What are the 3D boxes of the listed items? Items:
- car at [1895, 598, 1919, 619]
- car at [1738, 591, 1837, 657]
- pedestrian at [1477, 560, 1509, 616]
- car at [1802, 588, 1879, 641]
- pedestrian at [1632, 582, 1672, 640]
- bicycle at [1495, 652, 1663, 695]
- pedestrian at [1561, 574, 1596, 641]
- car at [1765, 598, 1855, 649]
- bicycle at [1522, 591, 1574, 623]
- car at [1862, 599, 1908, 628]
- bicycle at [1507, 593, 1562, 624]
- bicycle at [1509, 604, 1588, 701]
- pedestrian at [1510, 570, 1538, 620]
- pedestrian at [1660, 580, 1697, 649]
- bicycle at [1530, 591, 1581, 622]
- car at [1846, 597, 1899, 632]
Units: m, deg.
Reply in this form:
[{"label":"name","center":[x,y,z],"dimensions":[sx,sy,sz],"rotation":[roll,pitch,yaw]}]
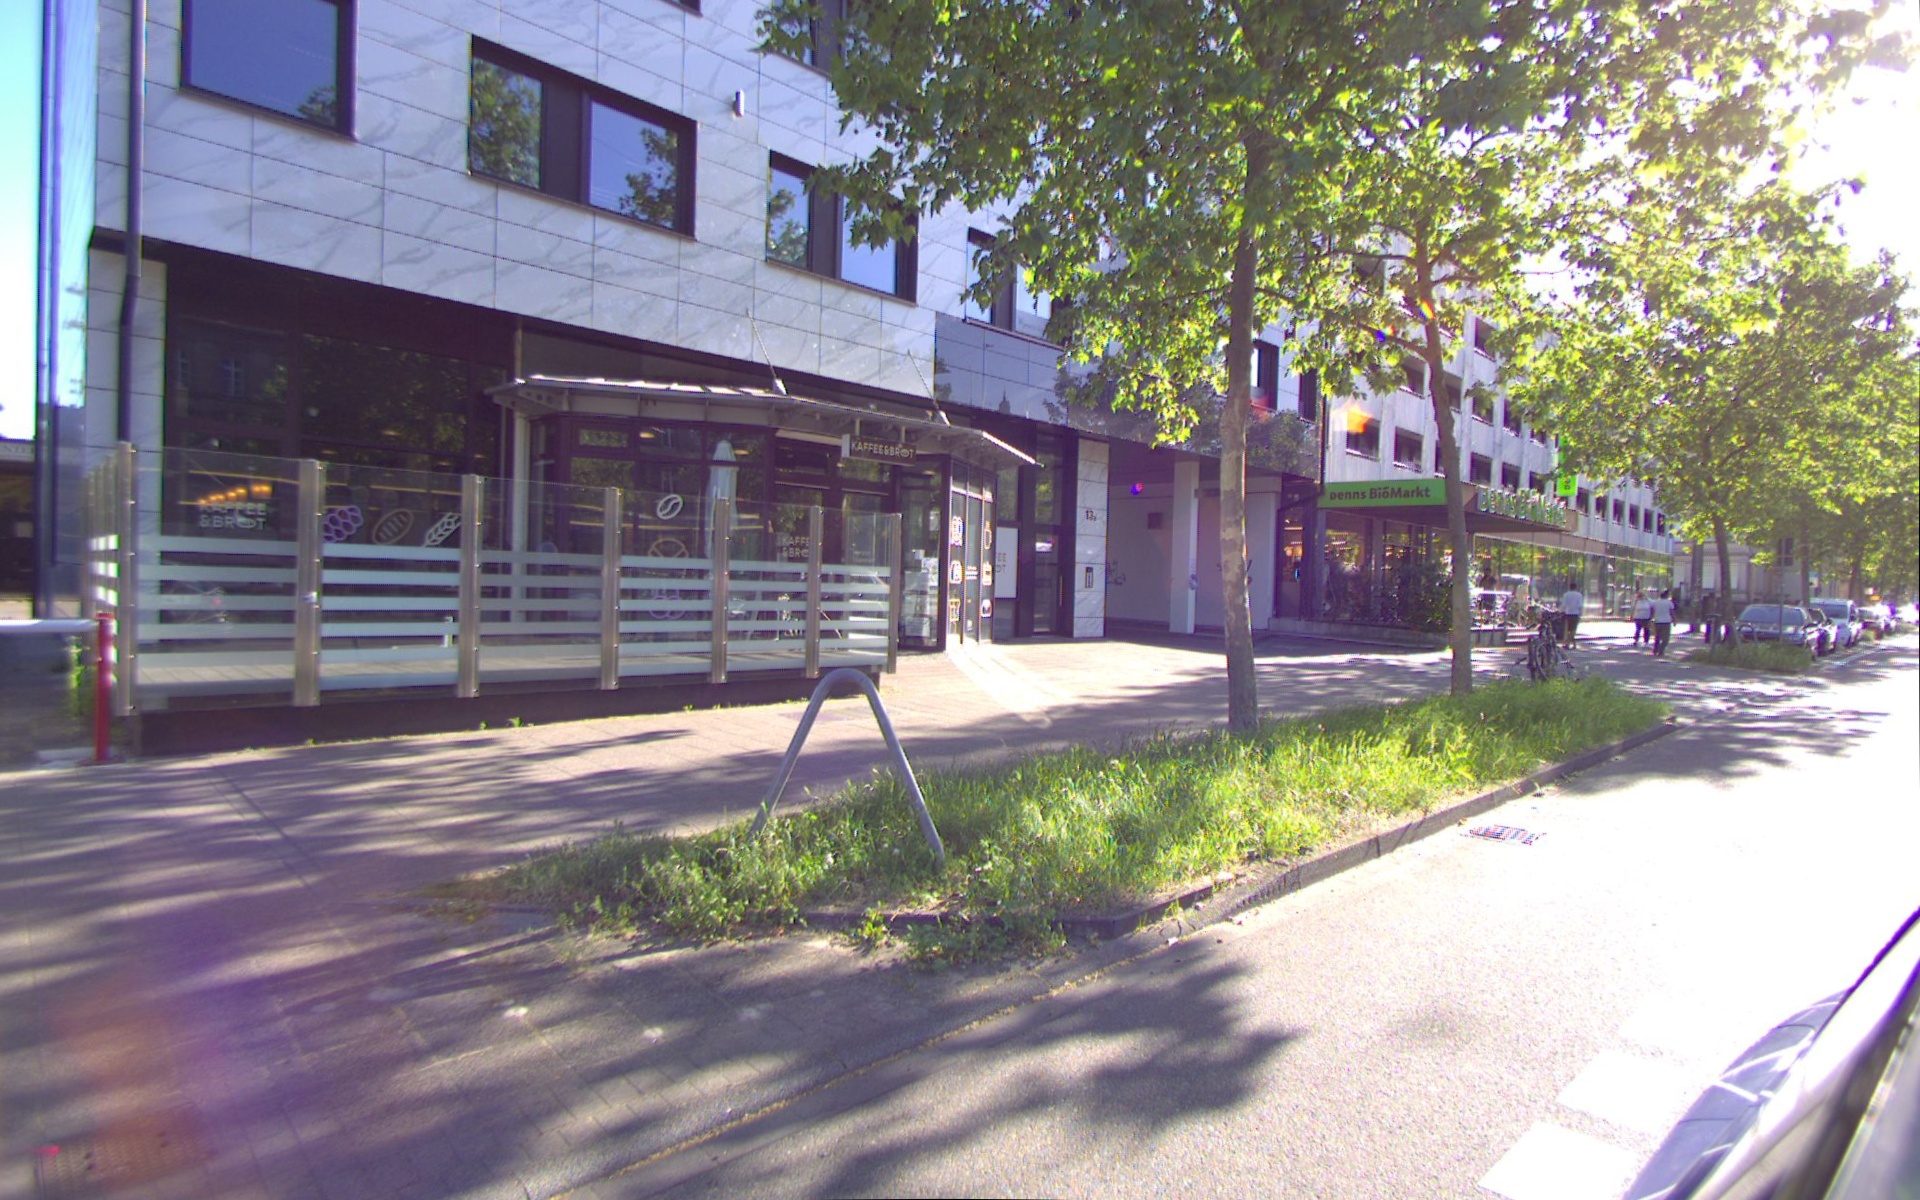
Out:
[{"label":"car","center":[73.111,0.644,77.603],"dimensions":[4.203,1.584,1.835],"rotation":[0,1,-45]},{"label":"car","center":[21.867,0.574,26.704],"dimensions":[3.934,1.570,1.566],"rotation":[0,1,-44]},{"label":"pedestrian","center":[16.489,-0.376,31.295],"dimensions":[0.868,1.698,0.558],"rotation":[0,3,-45]},{"label":"car","center":[33.257,0.527,38.190],"dimensions":[4.320,1.814,1.766],"rotation":[1,2,-44]},{"label":"pedestrian","center":[20.395,0.324,29.818],"dimensions":[0.853,1.632,0.699],"rotation":[1,3,-42]},{"label":"bicycle","center":[8.187,0.954,13.390],"dimensions":[1.366,0.357,1.610],"rotation":[0,2,-44]},{"label":"pedestrian","center":[16.768,0.203,27.426],"dimensions":[0.864,1.766,0.560],"rotation":[0,2,-45]},{"label":"car","center":[26.428,0.671,31.401],"dimensions":[1.762,1.436,4.624],"rotation":[1,1,45]},{"label":"bicycle","center":[22.354,0.245,38.490],"dimensions":[0.573,1.068,1.710],"rotation":[3,2,-17]},{"label":"car","center":[51.325,0.719,56.120],"dimensions":[3.866,1.459,1.627],"rotation":[0,3,-45]},{"label":"bicycle","center":[20.080,0.274,35.385],"dimensions":[0.573,0.927,1.656],"rotation":[5,2,-17]},{"label":"bicycle","center":[7.820,0.645,13.412],"dimensions":[0.785,1.147,1.824],"rotation":[2,1,33]},{"label":"pedestrian","center":[20.341,-0.193,36.517],"dimensions":[0.607,1.735,0.609],"rotation":[8,4,21]},{"label":"pedestrian","center":[18.492,0.351,26.053],"dimensions":[1.035,1.725,0.560],"rotation":[0,2,-45]},{"label":"bicycle","center":[23.030,0.245,39.168],"dimensions":[0.573,1.068,1.710],"rotation":[2,3,-17]},{"label":"car","center":[44.168,0.666,48.977],"dimensions":[1.674,1.455,3.631],"rotation":[5,4,44]}]
